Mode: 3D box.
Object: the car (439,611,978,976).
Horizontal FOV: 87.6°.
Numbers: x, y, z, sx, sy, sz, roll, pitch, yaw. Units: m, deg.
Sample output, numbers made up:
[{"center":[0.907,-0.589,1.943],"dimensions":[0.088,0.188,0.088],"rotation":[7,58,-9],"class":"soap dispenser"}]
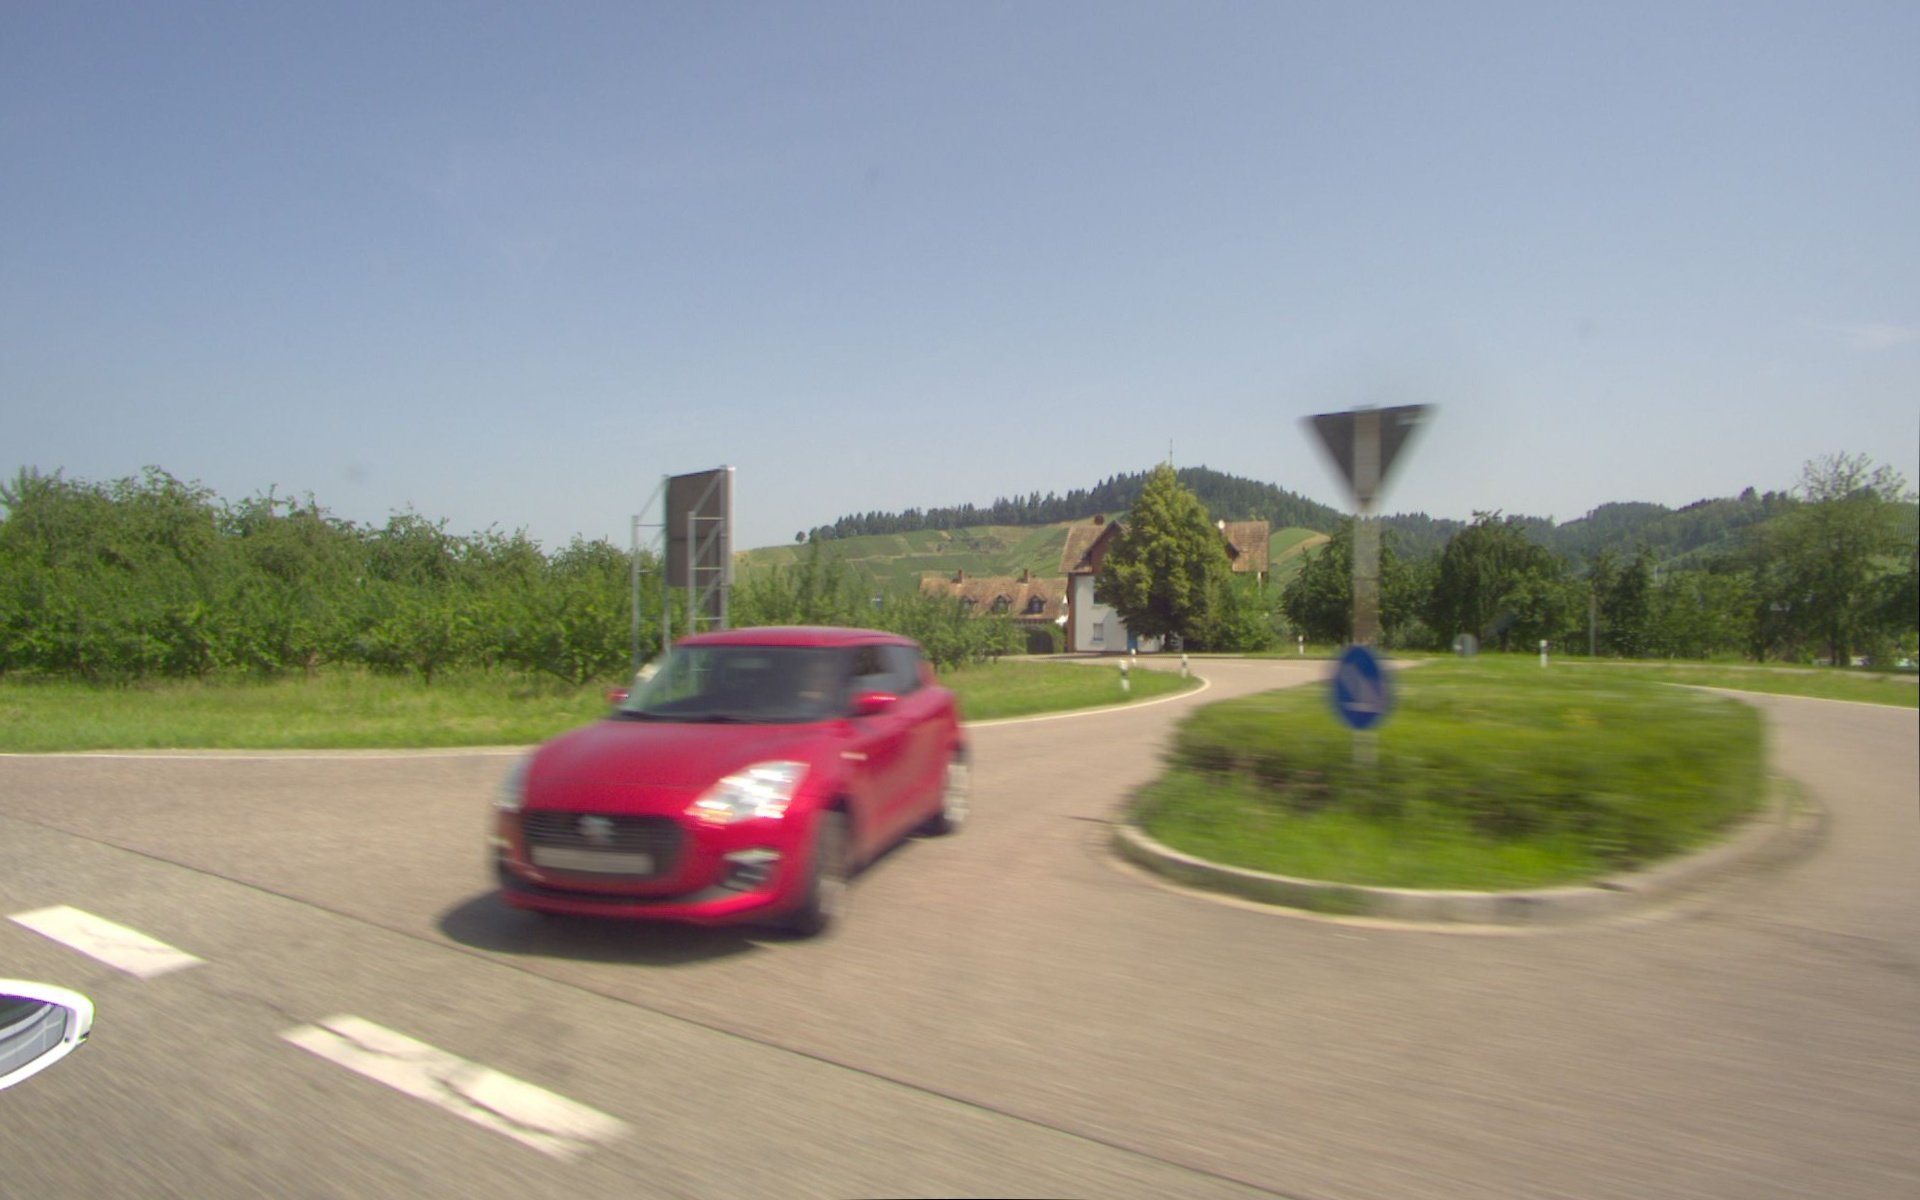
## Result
[{"center":[-1.124,0.860,6.199],"dimensions":[1.641,1.512,3.750],"rotation":[0,-1,14],"class":"car"}]
